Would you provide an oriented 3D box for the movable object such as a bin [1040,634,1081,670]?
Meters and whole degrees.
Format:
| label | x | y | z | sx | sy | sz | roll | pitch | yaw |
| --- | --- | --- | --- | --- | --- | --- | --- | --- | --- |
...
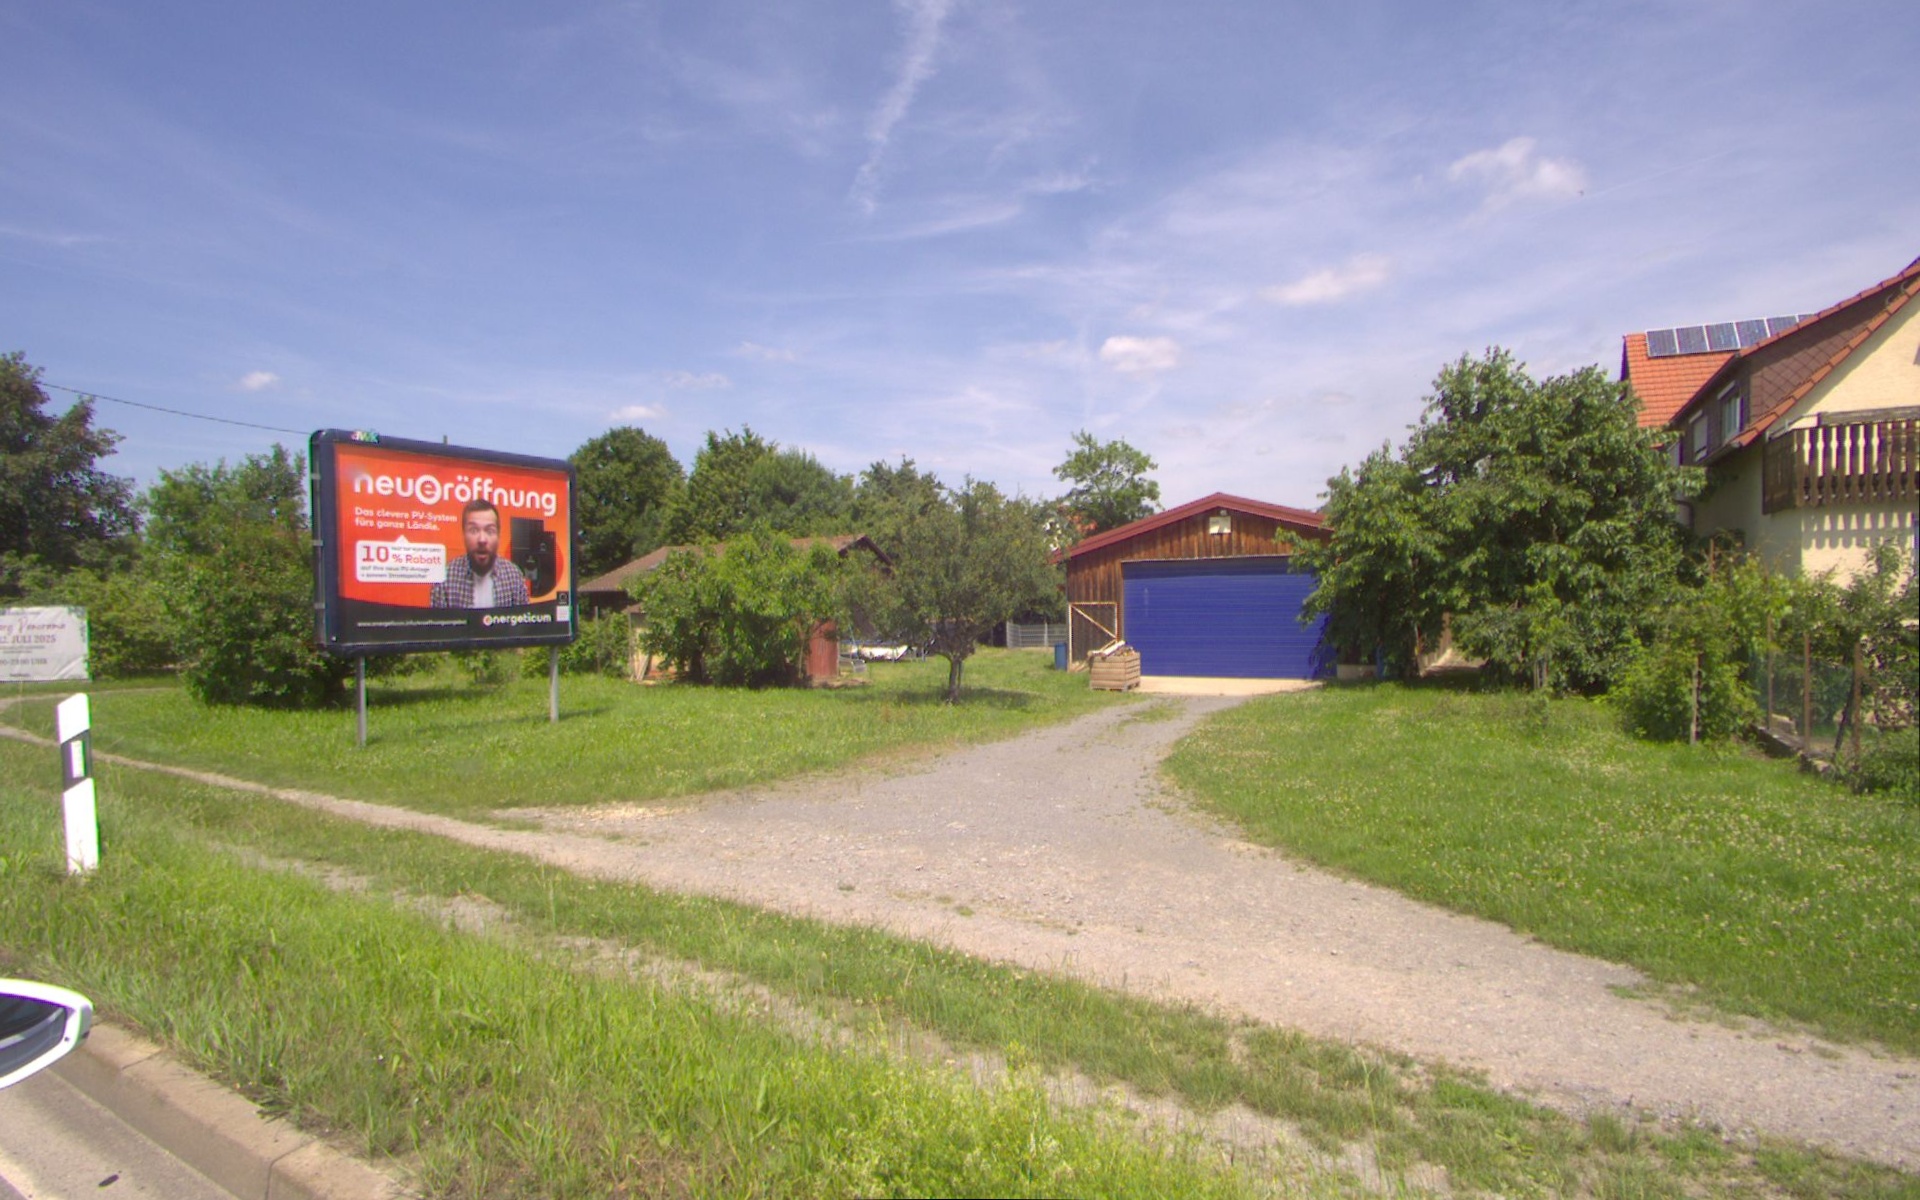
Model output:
| label | x | y | z | sx | sy | sz | roll | pitch | yaw |
| --- | --- | --- | --- | --- | --- | --- | --- | --- | --- |
| movable object such as a bin | 3.060 | 1.576 | 30.341 | 1.044 | 1.046 | 1.040 | 0 | -1 | 17 |

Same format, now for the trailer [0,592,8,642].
| label | x | y | z | sx | sy | sz | roll | pitch | yaw |
| --- | --- | --- | --- | --- | --- | --- | --- | --- | --- |
| trailer | -90.079 | 1.522 | 89.467 | 5.132 | 4.688 | 15.783 | 1 | -1 | -36 |

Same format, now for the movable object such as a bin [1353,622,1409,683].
| label | x | y | z | sx | sy | sz | roll | pitch | yaw |
| --- | --- | --- | --- | --- | --- | --- | --- | --- | --- |
| movable object such as a bin | 10.226 | 1.258 | 24.303 | 1.049 | 1.415 | 1.271 | 0 | -1 | 33 |
